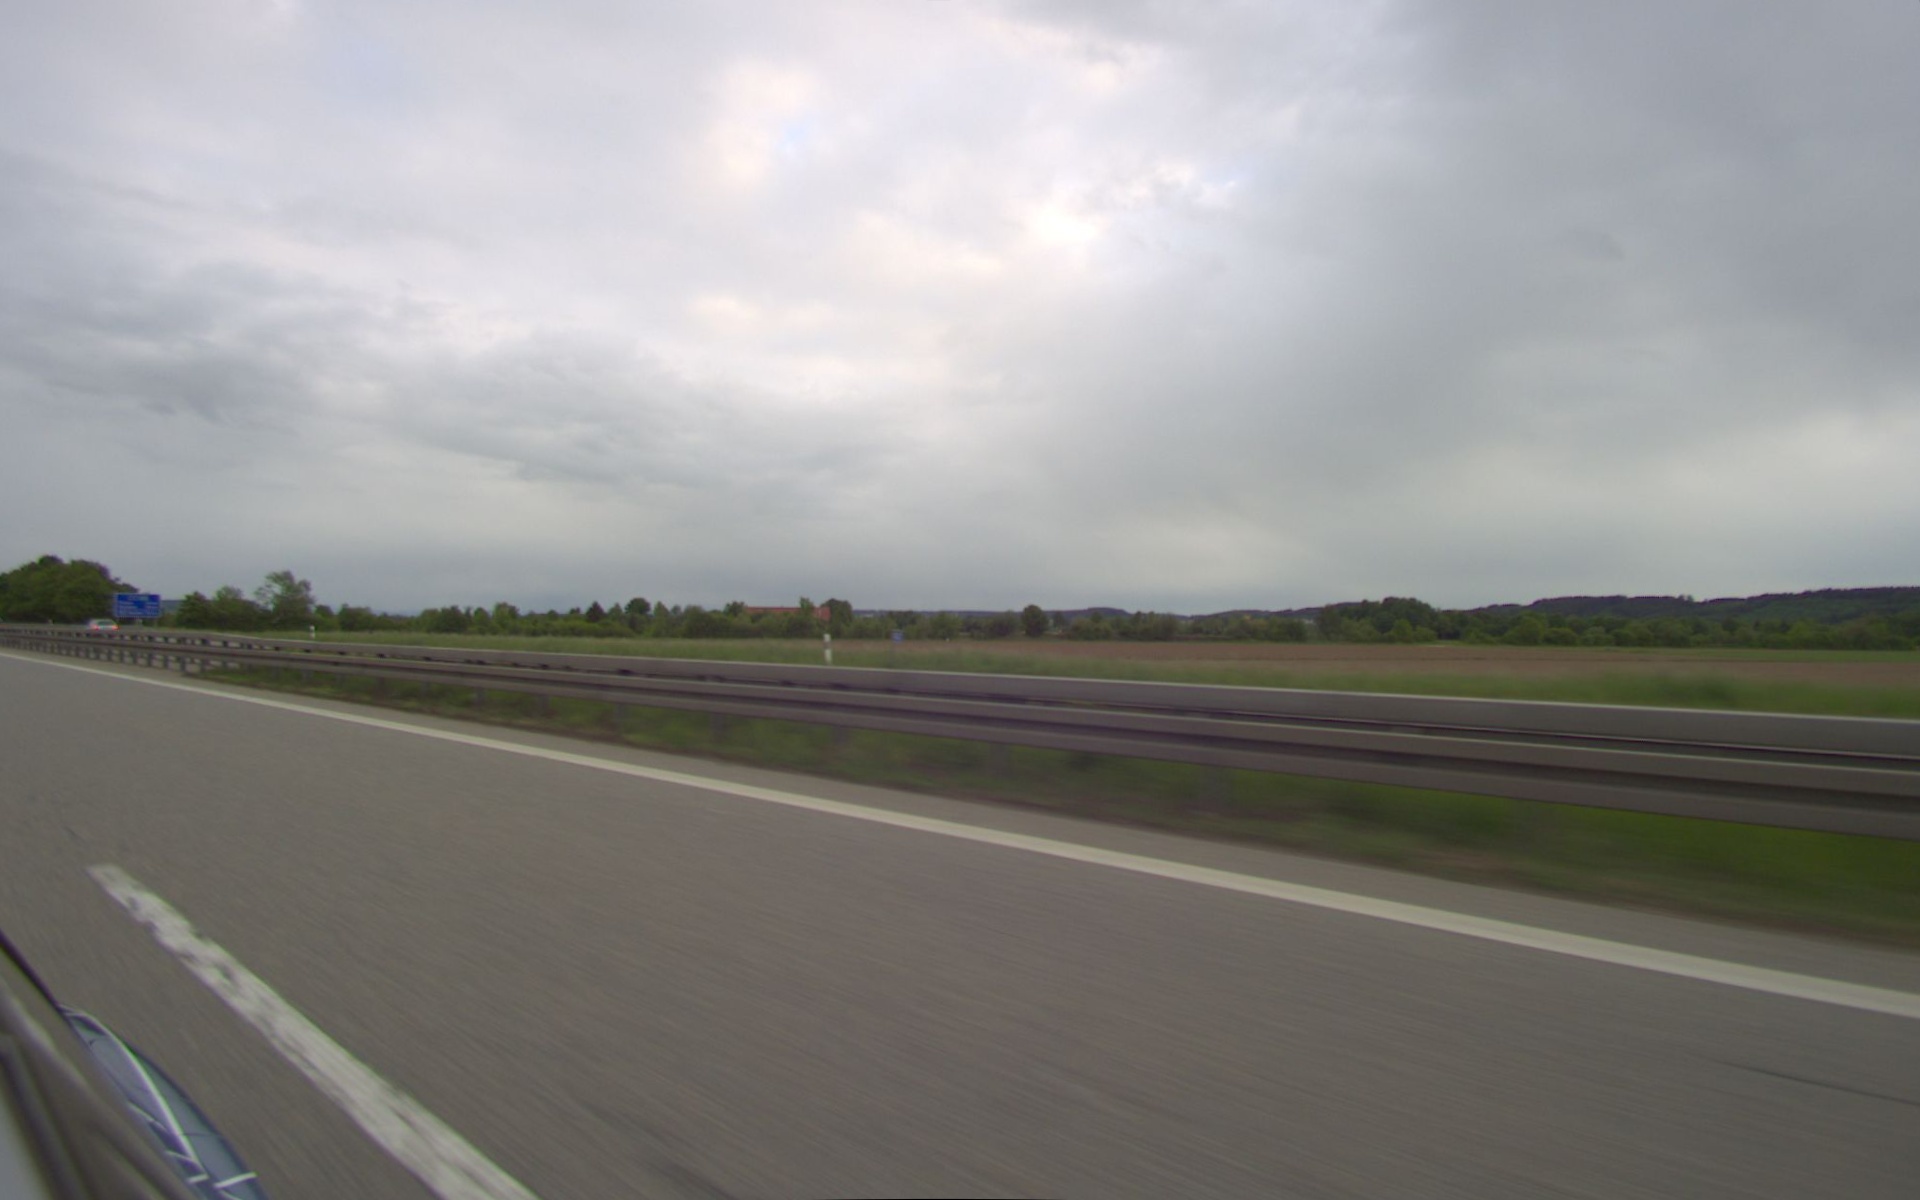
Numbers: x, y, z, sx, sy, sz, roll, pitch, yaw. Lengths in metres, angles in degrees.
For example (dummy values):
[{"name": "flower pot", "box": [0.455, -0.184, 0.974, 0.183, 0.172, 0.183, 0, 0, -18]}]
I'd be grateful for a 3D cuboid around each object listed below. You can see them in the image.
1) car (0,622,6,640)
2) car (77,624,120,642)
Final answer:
[{"name": "car", "box": [-95.349, 3.020, 99.356, 4.299, 1.713, 1.973, -1, 0, 41]}, {"name": "car", "box": [-72.404, 2.747, 85.062, 4.759, 1.507, 1.973, -1, -1, 40]}]
